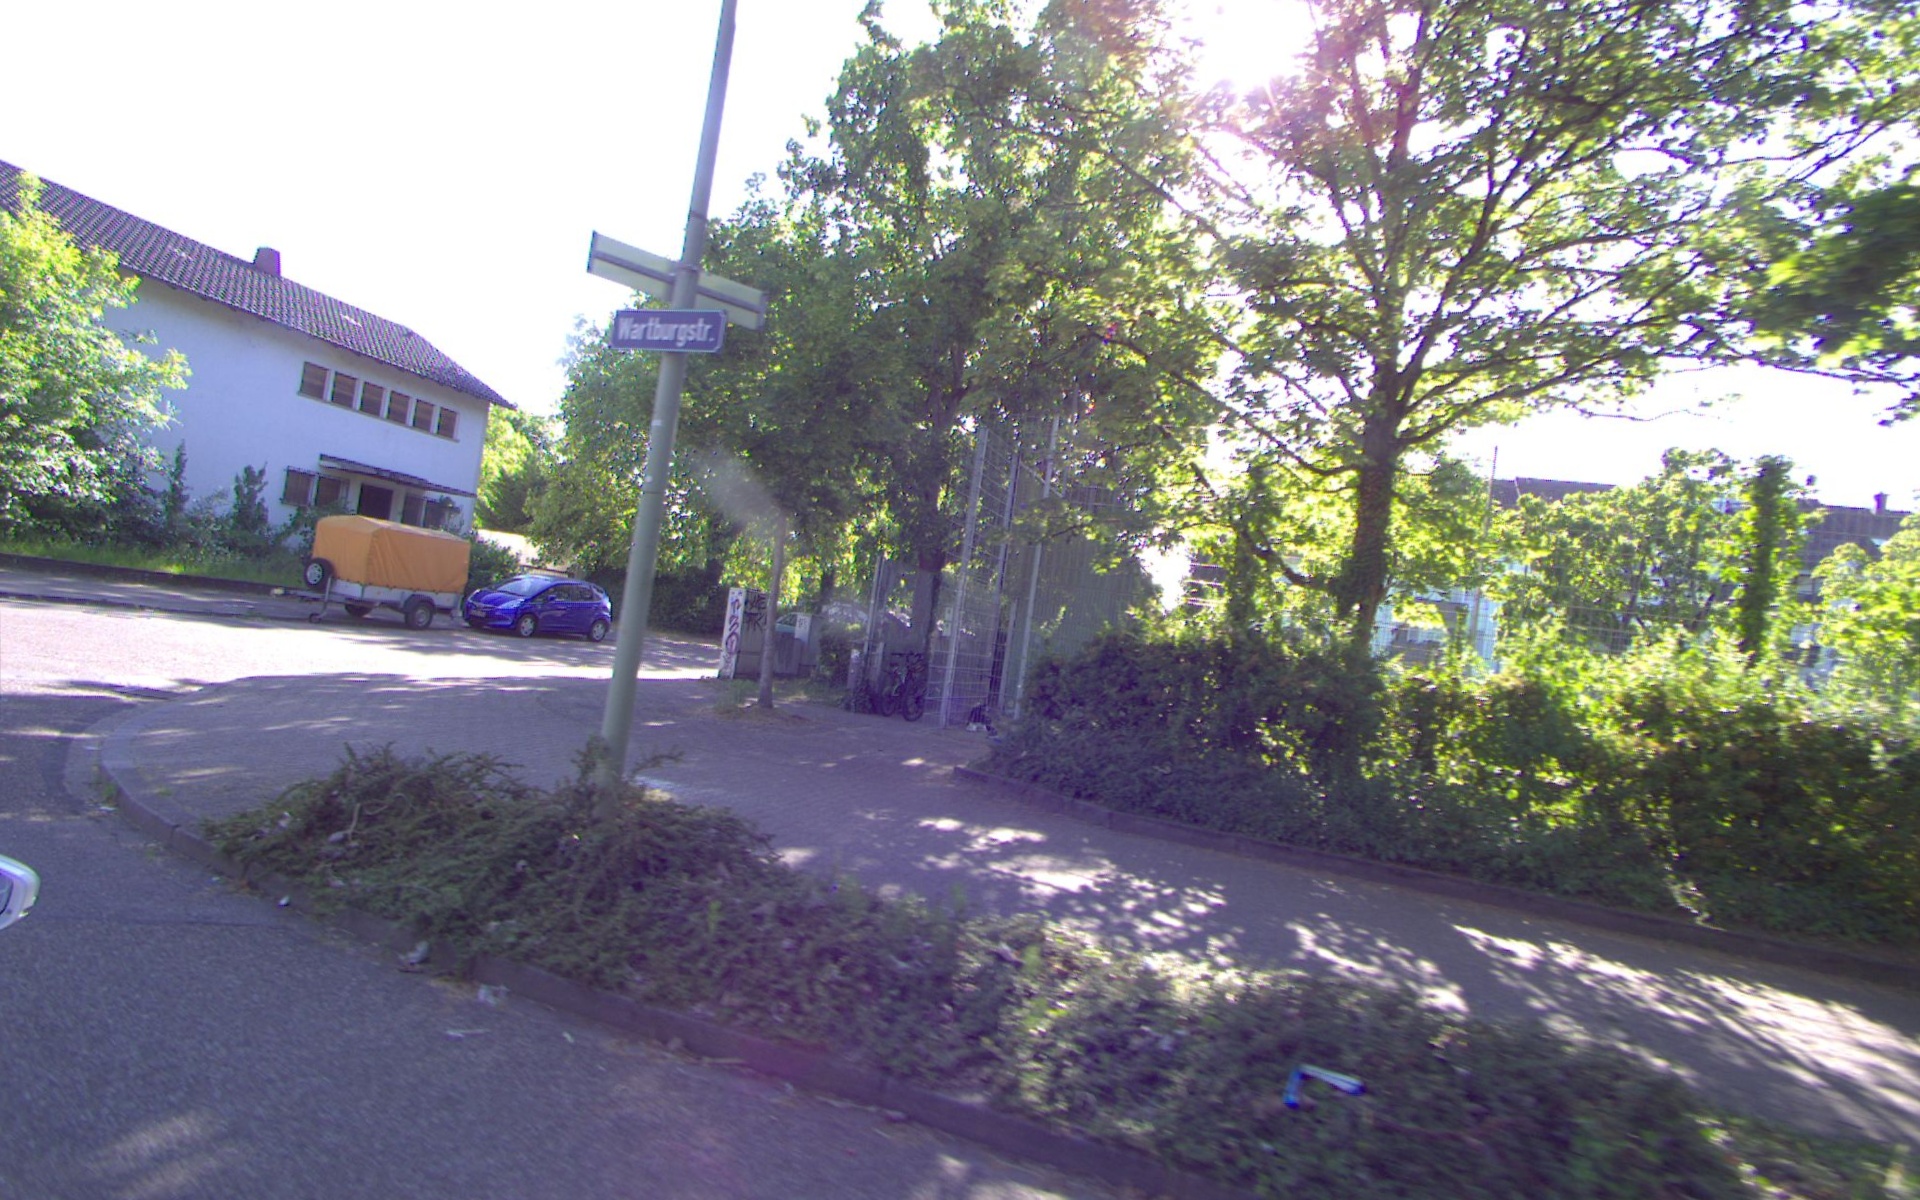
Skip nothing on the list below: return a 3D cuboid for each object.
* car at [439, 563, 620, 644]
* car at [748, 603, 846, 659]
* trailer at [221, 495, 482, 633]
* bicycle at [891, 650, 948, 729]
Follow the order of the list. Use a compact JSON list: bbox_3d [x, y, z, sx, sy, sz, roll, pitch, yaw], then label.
[{"bbox_3d":[-10.622,0.153,25.165,1.855,1.529,3.934,7,-2,20],"label":"car"},{"bbox_3d":[-6.202,1.235,38.702,1.839,1.669,4.004,8,-2,20],"label":"car"},{"bbox_3d":[-12.311,-0.626,20.696,1.941,2.144,4.078,9,-1,18],"label":"trailer"},{"bbox_3d":[-0.567,1.231,13.963,0.292,0.969,0.900,8,-1,-29],"label":"bicycle"}]
